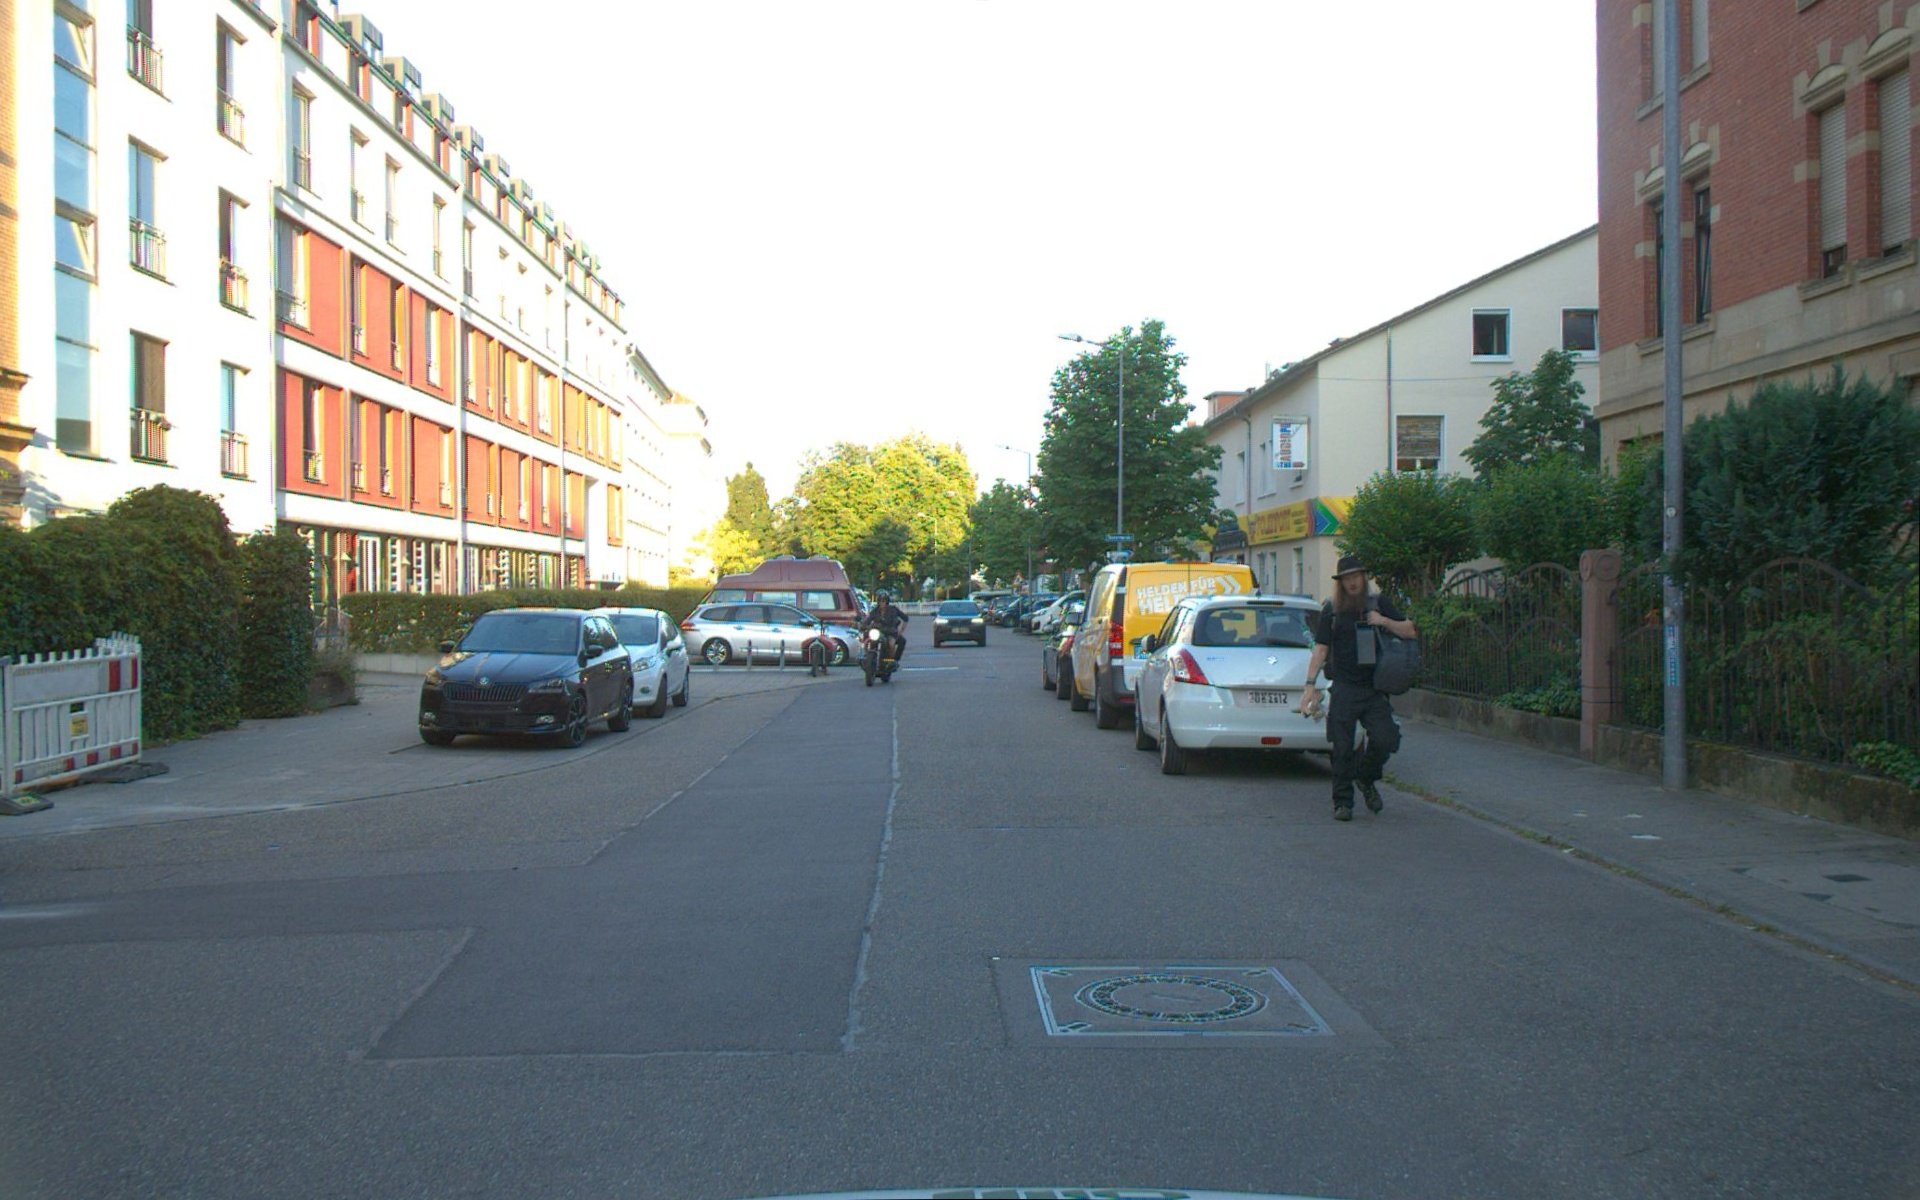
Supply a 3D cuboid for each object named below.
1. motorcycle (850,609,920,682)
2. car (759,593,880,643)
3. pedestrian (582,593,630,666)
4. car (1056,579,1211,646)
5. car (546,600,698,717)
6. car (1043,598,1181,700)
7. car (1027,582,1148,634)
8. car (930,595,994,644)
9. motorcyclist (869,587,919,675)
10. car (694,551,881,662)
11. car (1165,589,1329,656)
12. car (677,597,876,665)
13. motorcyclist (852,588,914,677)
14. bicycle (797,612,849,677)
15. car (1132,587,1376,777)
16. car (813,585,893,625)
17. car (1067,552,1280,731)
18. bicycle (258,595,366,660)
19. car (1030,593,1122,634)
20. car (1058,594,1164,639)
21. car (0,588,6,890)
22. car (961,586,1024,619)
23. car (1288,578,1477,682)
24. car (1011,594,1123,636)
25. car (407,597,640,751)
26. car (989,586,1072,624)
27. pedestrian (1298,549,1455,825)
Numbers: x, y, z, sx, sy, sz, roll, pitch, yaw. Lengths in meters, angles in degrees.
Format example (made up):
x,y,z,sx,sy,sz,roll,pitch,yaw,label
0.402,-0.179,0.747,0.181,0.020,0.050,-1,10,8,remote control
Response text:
x,y,z,sx,sy,sz,roll,pitch,yaw,label
-1.352,0.806,30.121,0.828,1.230,2.076,-3,0,9,motorcycle
-5.019,0.649,59.648,4.170,1.689,2.000,1,0,-1,car
-7.583,0.627,35.443,0.815,1.527,0.798,1,0,0,pedestrian
5.739,0.414,55.290,4.888,2.018,2.219,-2,0,-1,car
-4.831,0.788,24.116,1.618,1.557,4.014,0,0,-4,car
2.302,0.712,26.032,1.686,1.449,4.252,1,0,-1,car
5.403,0.323,70.448,4.845,1.992,2.048,-2,0,-3,car
0.108,0.642,55.752,1.742,1.544,4.002,-2,0,5,car
-1.218,0.569,30.578,0.770,1.567,0.546,-3,-1,9,motorcyclist
-4.277,0.153,41.593,4.418,2.629,2.000,1,0,0,car
7.455,0.568,43.173,3.967,1.540,1.756,-2,2,0,car
-4.271,0.725,39.013,4.525,1.486,1.879,1,0,-4,car
-1.389,0.581,29.822,0.870,1.531,0.970,-3,-1,9,motorcyclist
-2.772,0.874,33.739,0.791,1.243,2.865,1,0,1,bicycle
2.539,0.655,15.101,1.640,1.503,3.862,0,0,2,car
-6.127,0.296,95.046,4.441,2.171,2.000,1,0,-1,car
2.471,0.450,20.413,1.855,1.917,5.080,0,0,-1,car
-12.041,0.505,30.740,1.739,1.168,0.610,1,0,1,bicycle
5.609,0.652,80.298,4.230,1.835,1.810,-2,0,-3,car
5.757,0.629,63.435,3.832,1.552,1.939,-2,0,0,car
-7.166,0.758,7.588,4.562,1.549,1.792,-1,0,-44,car
2.120,0.152,108.415,3.891,1.945,2.047,-2,0,-6,car
6.550,0.433,26.114,1.691,1.449,4.421,-2,0,-2,car
4.836,0.668,75.372,4.845,1.718,2.076,-2,0,-3,car
-4.818,0.756,18.788,1.669,1.561,3.843,0,0,-1,car
3.951,0.286,92.848,4.392,1.945,1.686,-2,0,-6,car
2.776,0.558,11.122,0.869,1.752,0.959,1,0,6,pedestrian
